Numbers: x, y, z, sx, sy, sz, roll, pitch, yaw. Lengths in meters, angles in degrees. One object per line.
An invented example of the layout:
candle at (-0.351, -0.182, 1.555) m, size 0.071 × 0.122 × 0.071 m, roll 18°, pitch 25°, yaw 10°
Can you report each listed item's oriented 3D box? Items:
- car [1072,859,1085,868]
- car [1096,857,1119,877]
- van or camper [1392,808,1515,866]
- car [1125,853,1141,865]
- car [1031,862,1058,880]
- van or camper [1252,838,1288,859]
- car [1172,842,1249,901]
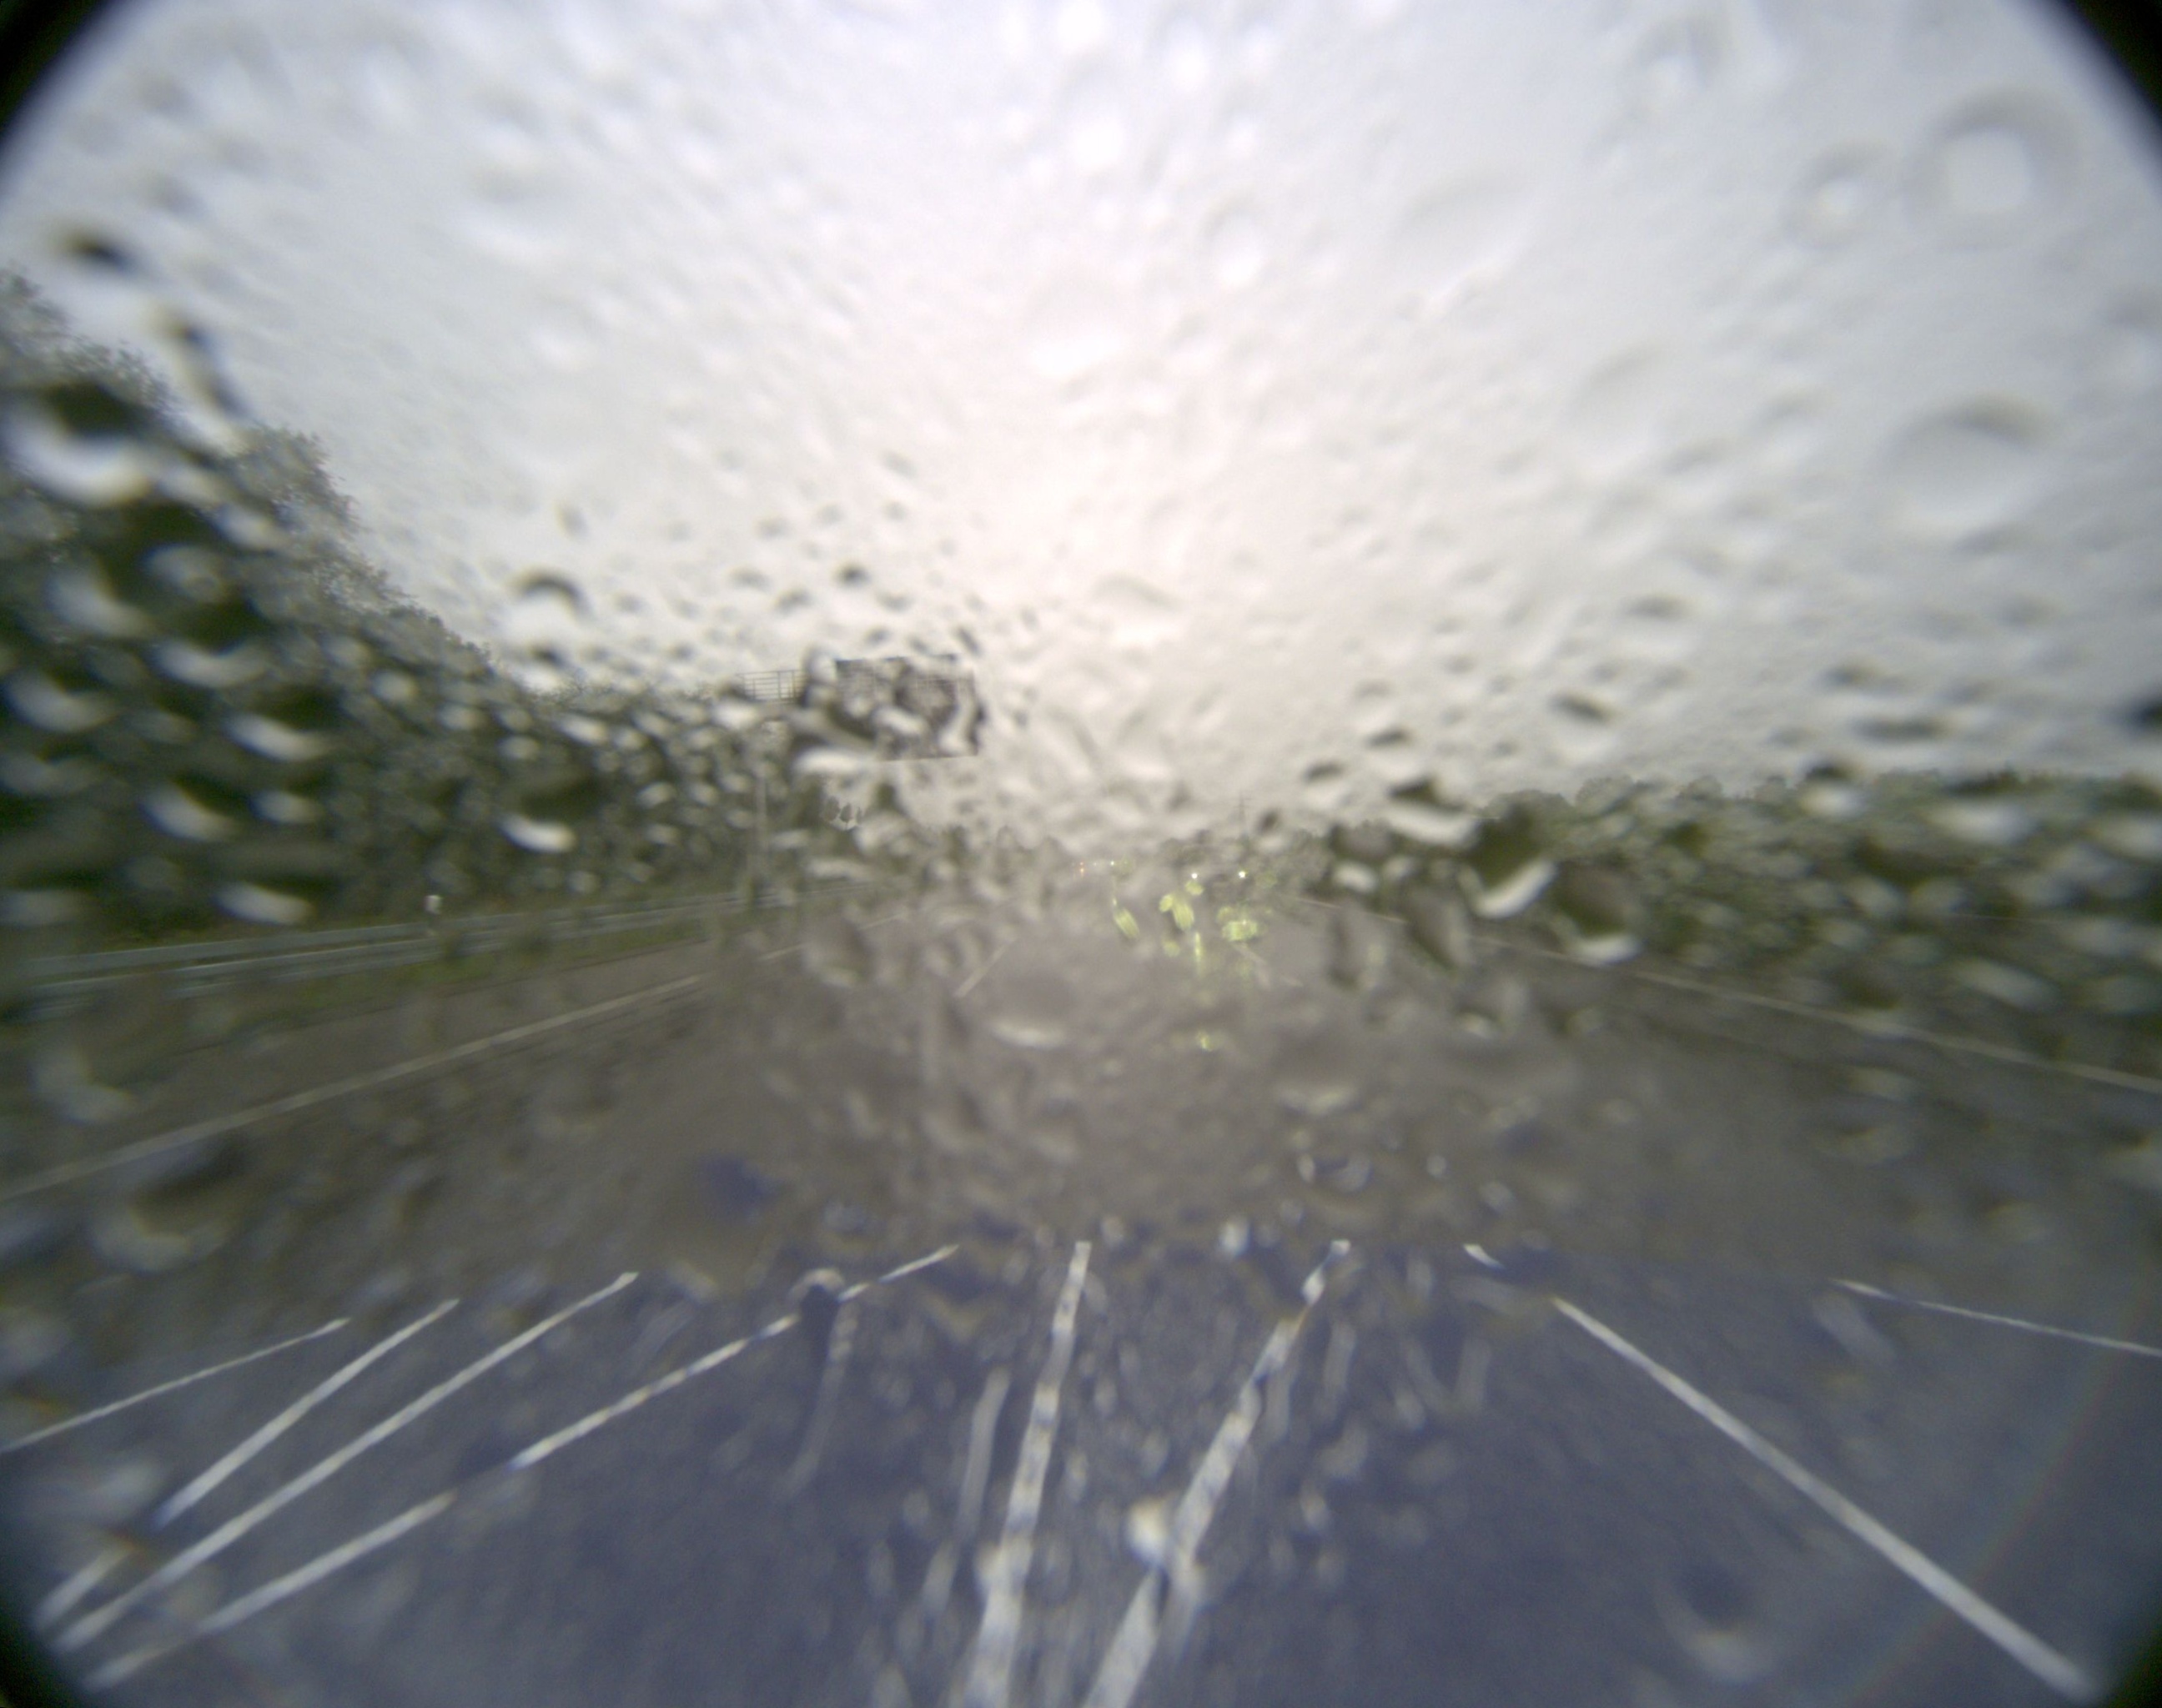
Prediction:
car at (-0.345, 1.475, 120.527) m, size 1.753 × 1.205 × 4.000 m, roll -5°, pitch 0°, yaw 2°
car at (2.161, 1.027, 62.212) m, size 1.753 × 1.406 × 4.000 m, roll -5°, pitch 0°, yaw 2°
van or camper at (22.327, -0.934, 46.363) m, size 2.894 × 3.068 × 9.514 m, roll -2°, pitch 0°, yaw 1°
car at (6.274, 0.607, 91.713) m, size 1.753 × 1.369 × 4.000 m, roll -2°, pitch 0°, yaw 2°
car at (-2.866, 1.325, 60.763) m, size 1.753 × 1.205 × 4.000 m, roll -5°, pitch 0°, yaw 2°
van or camper at (22.881, -0.684, 92.400) m, size 2.611 × 2.262 × 7.338 m, roll -5°, pitch 0°, yaw 1°
car at (4.237, 0.514, 25.574) m, size 2.046 × 1.763 × 4.501 m, roll -2°, pitch 0°, yaw 4°
